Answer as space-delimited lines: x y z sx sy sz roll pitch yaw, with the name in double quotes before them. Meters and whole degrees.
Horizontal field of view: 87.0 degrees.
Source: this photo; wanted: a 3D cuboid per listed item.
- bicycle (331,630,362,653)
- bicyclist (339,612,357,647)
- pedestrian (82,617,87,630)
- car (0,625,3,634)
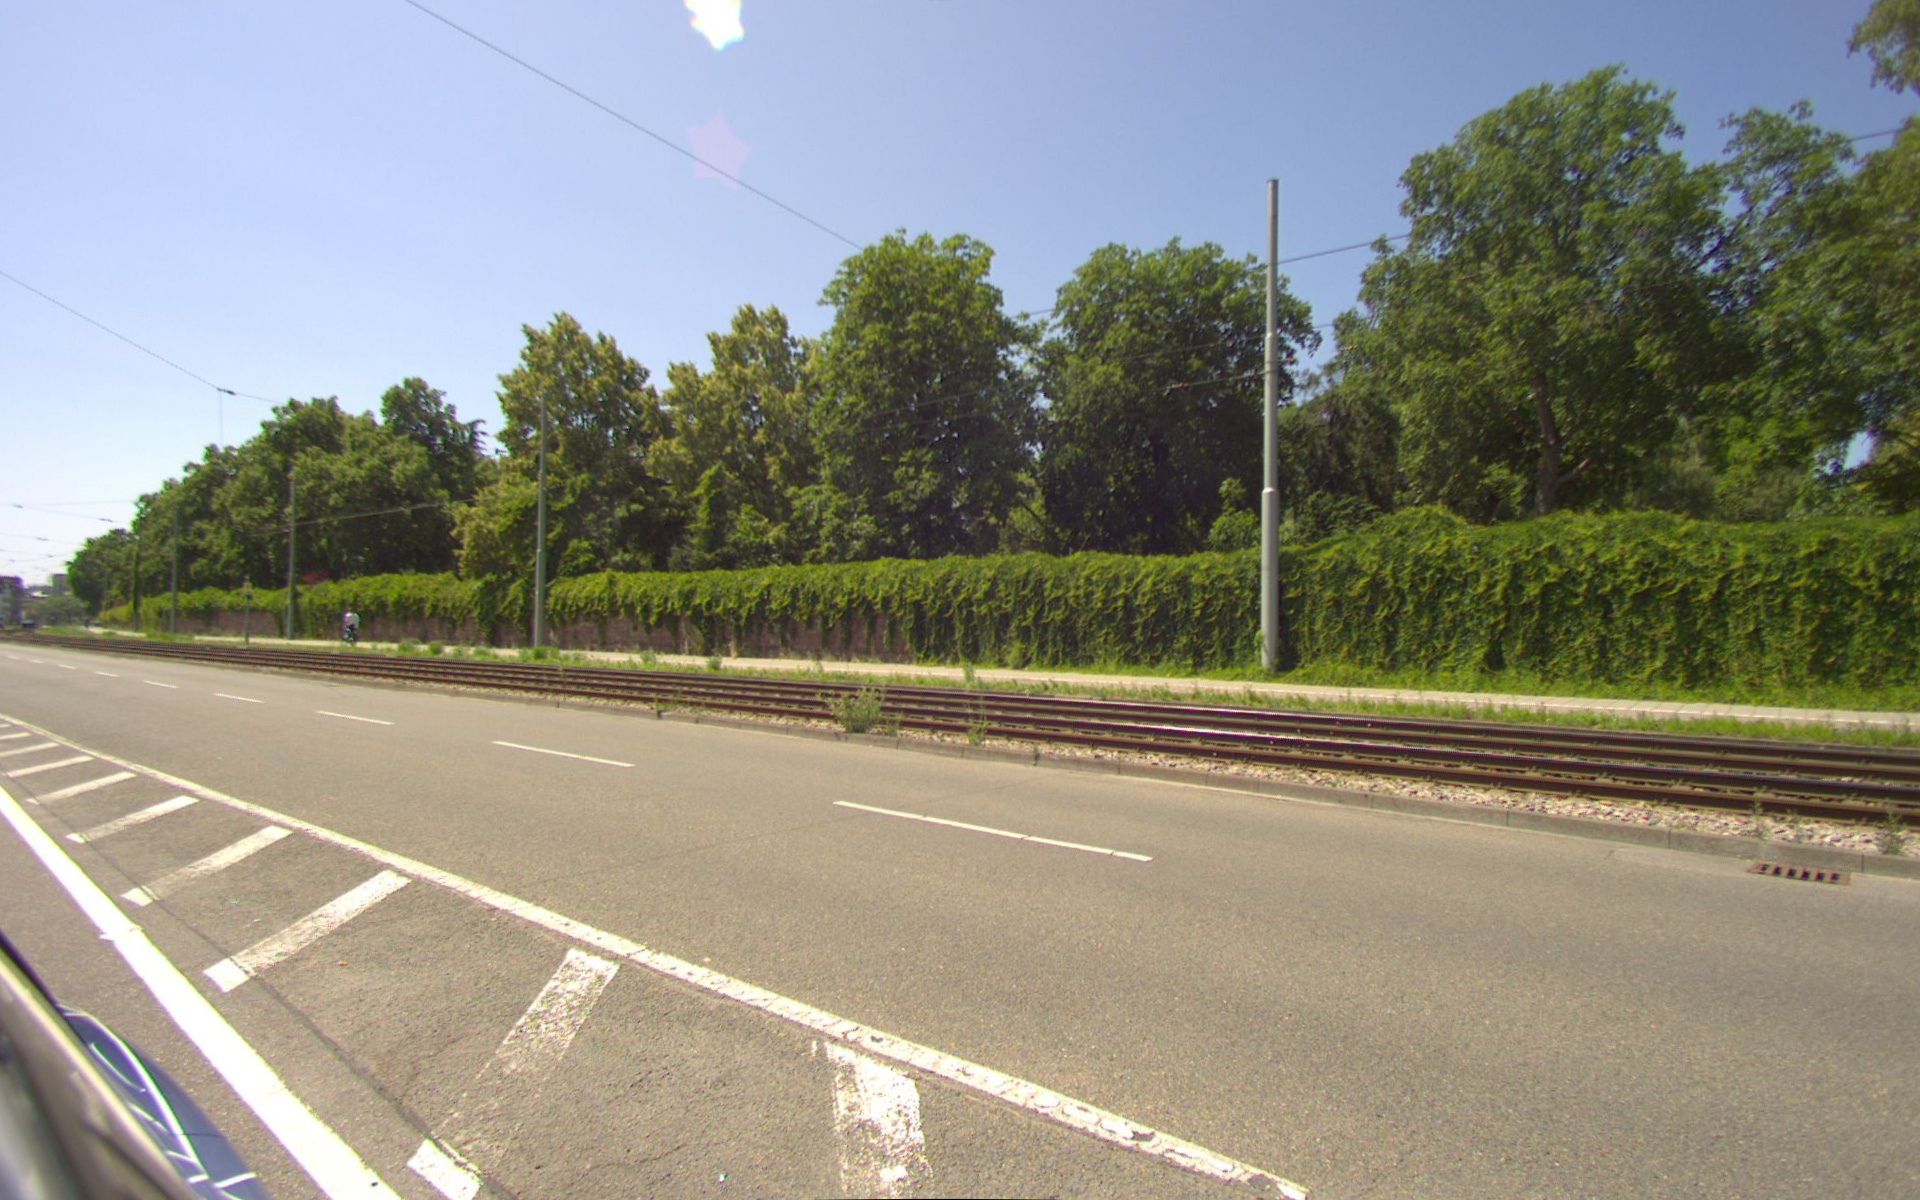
"bicycle" -29.068 1.948 47.947 1.976 1.063 0.610 -1 0 39
"bicyclist" -28.947 1.386 47.879 0.768 1.624 0.477 -1 0 39
"pedestrian" -115.153 3.082 133.081 0.302 1.677 0.447 -2 -1 41
"car" -162.445 4.964 169.961 1.773 1.508 3.974 -1 -1 -33
